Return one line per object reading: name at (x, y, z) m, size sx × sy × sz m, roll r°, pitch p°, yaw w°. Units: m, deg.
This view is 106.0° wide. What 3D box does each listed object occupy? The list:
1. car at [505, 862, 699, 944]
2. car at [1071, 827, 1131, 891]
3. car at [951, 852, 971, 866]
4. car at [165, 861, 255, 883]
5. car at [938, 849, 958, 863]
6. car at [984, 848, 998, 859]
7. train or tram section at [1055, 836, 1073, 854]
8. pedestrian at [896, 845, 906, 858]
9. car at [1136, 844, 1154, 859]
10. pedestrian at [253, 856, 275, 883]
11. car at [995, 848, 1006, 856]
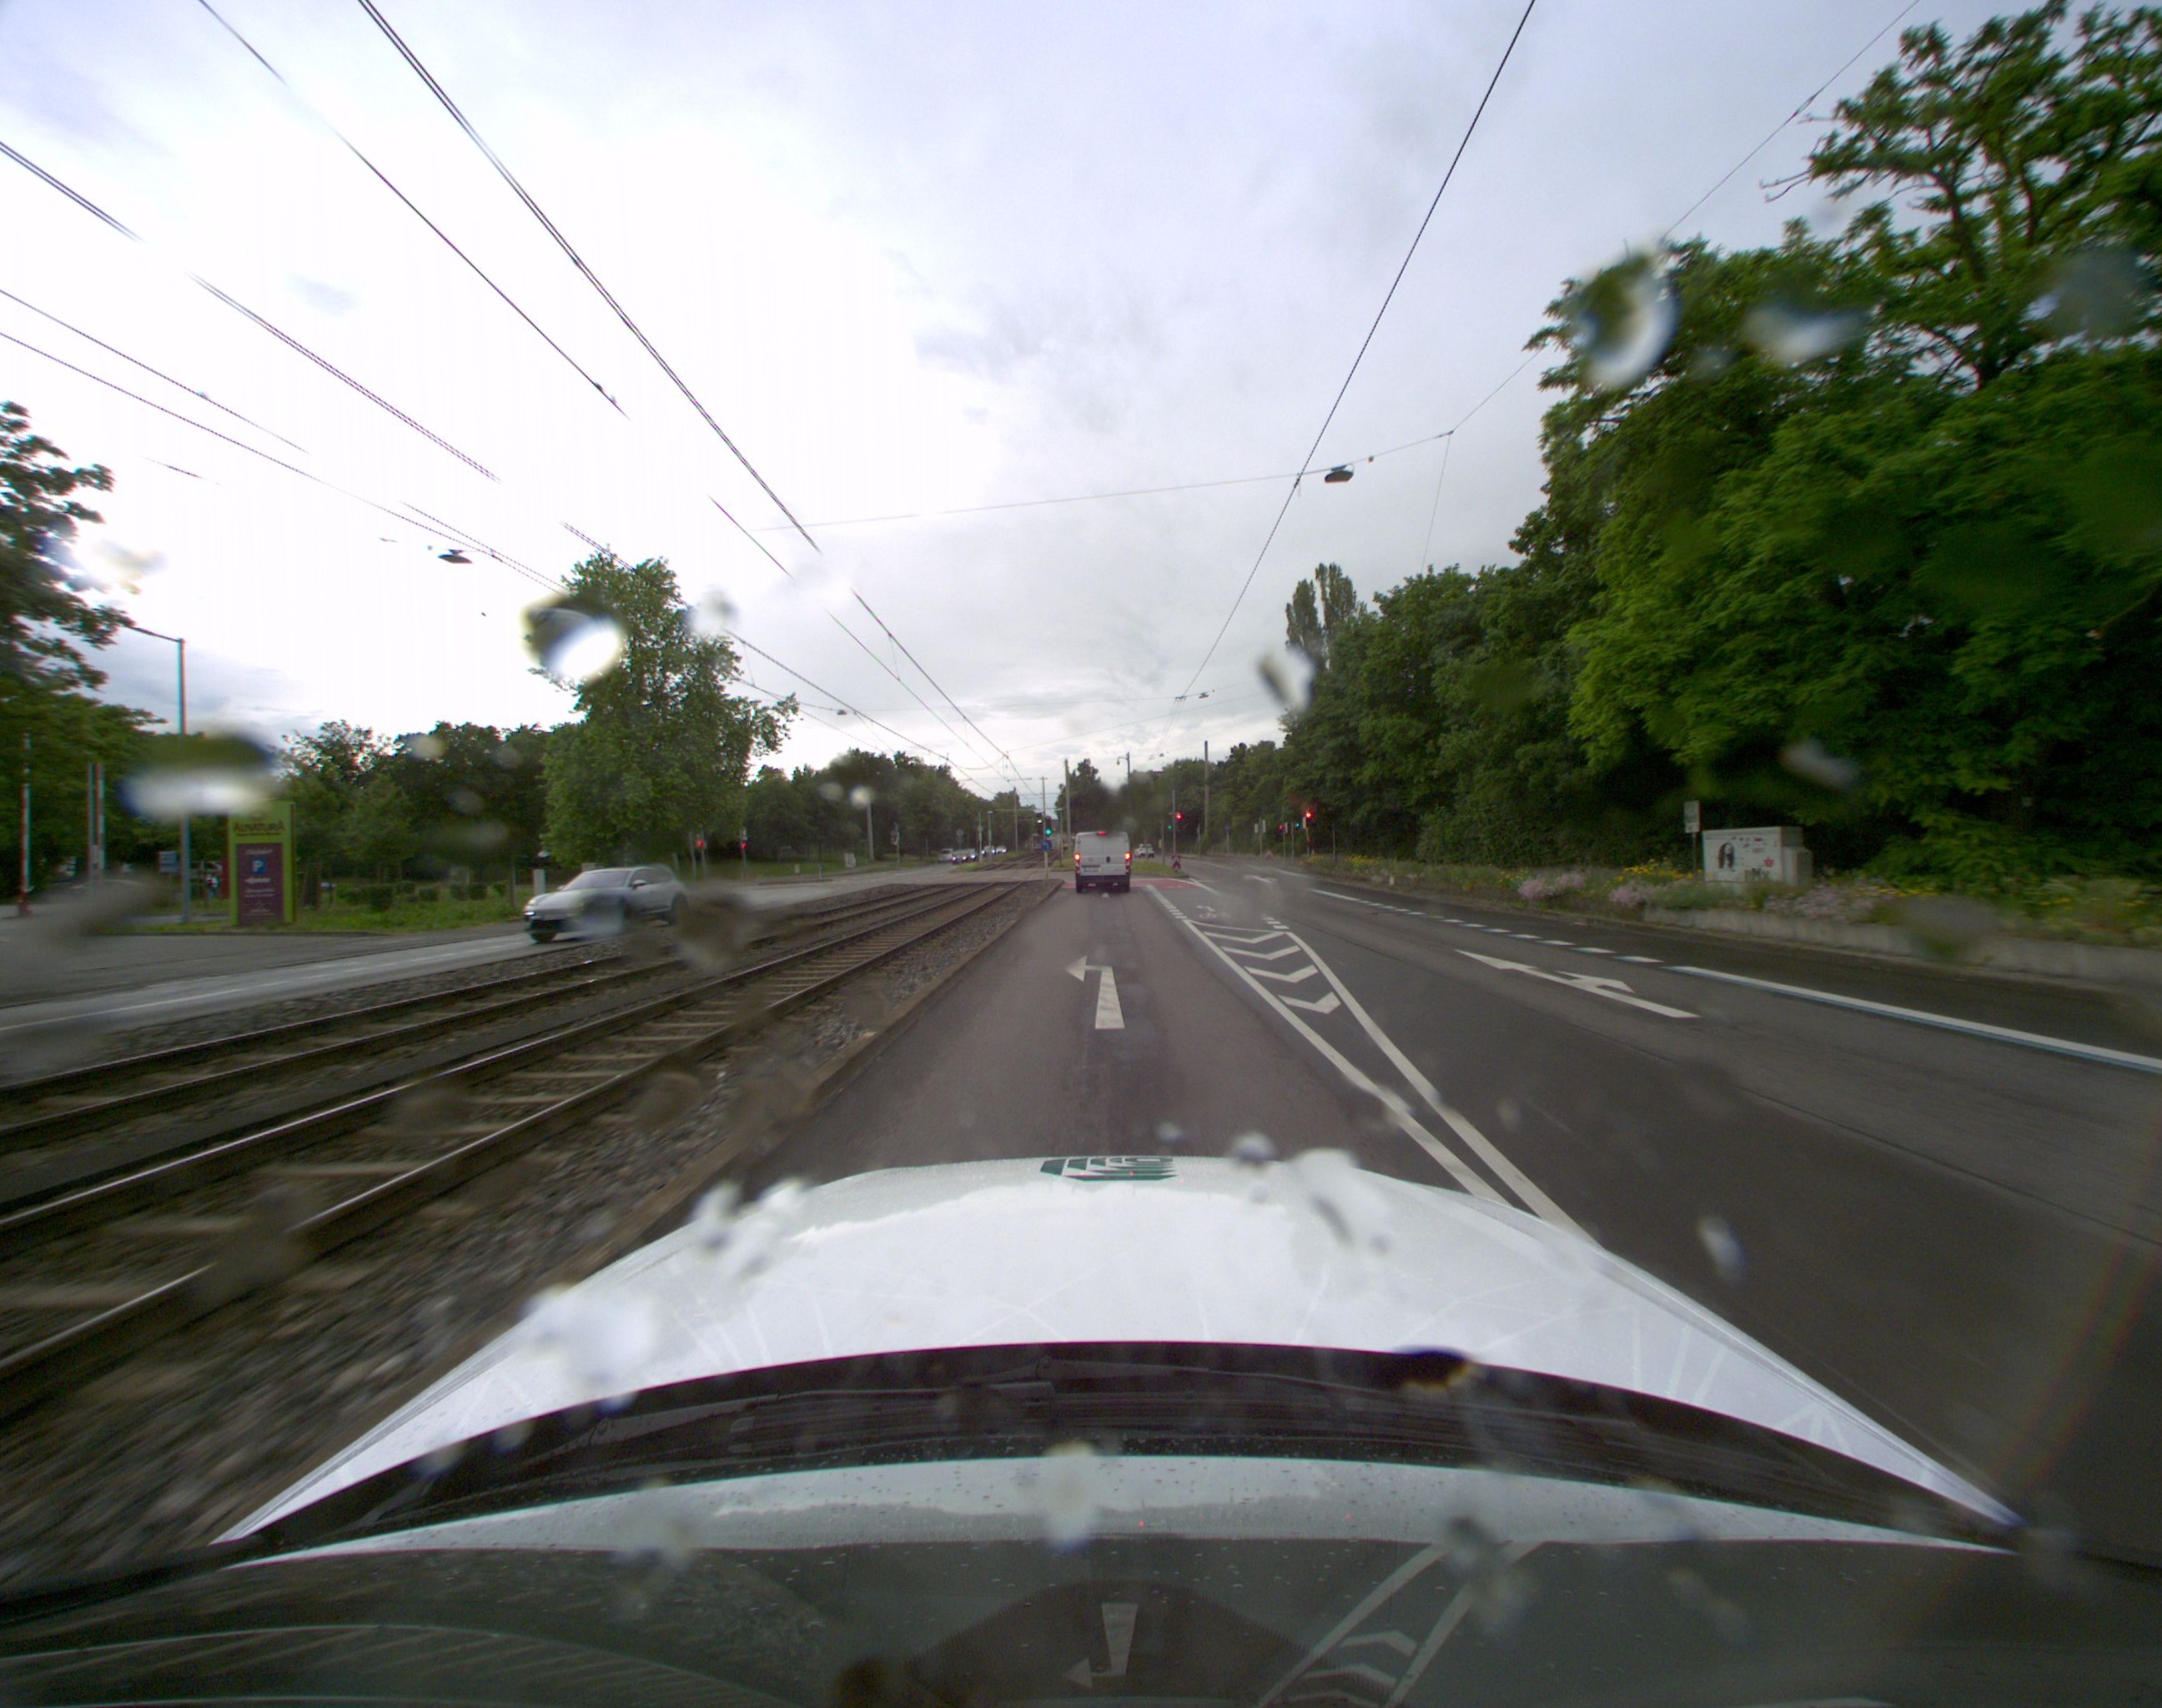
car at (-11.648, 1.099, 20.287) m, size 1.988 × 1.649 × 4.757 m, roll -4°, pitch 0°, yaw -1°
car at (0.851, 0.190, 31.894) m, size 2.137 × 2.283 × 5.066 m, roll -1°, pitch 0°, yaw 3°
car at (-12.736, 0.488, 86.697) m, size 1.596 × 1.401 × 3.790 m, roll 0°, pitch 1°, yaw -1°
car at (-73.960, 1.543, 69.213) m, size 5.121 × 1.805 × 1.996 m, roll -1°, pitch -2°, yaw -5°
car at (-15.990, 0.215, 97.797) m, size 1.714 × 1.553 × 3.861 m, roll -4°, pitch 1°, yaw -1°
car at (-13.231, -0.082, 119.986) m, size 1.596 × 1.401 × 3.790 m, roll 0°, pitch 1°, yaw -1°
train or tram section at (-4.328, -2.227, 208.666) m, size 4.046 × 3.895 × 15.037 m, roll 0°, pitch -2°, yaw 1°
pedestrian at (-22.424, -0.317, 101.588) m, size 1.012 × 1.600 × 1.038 m, roll -2°, pitch 0°, yaw -6°
car at (6.914, -0.287, 88.107) m, size 1.698 × 1.521 × 3.792 m, roll 0°, pitch 1°, yaw 0°
pedestrian at (-49.549, 0.936, 49.409) m, size 0.672 × 1.602 × 0.608 m, roll -1°, pitch -2°, yaw 7°
car at (-14.277, -0.324, 144.192) m, size 1.596 × 1.401 × 3.790 m, roll 0°, pitch 1°, yaw -1°
